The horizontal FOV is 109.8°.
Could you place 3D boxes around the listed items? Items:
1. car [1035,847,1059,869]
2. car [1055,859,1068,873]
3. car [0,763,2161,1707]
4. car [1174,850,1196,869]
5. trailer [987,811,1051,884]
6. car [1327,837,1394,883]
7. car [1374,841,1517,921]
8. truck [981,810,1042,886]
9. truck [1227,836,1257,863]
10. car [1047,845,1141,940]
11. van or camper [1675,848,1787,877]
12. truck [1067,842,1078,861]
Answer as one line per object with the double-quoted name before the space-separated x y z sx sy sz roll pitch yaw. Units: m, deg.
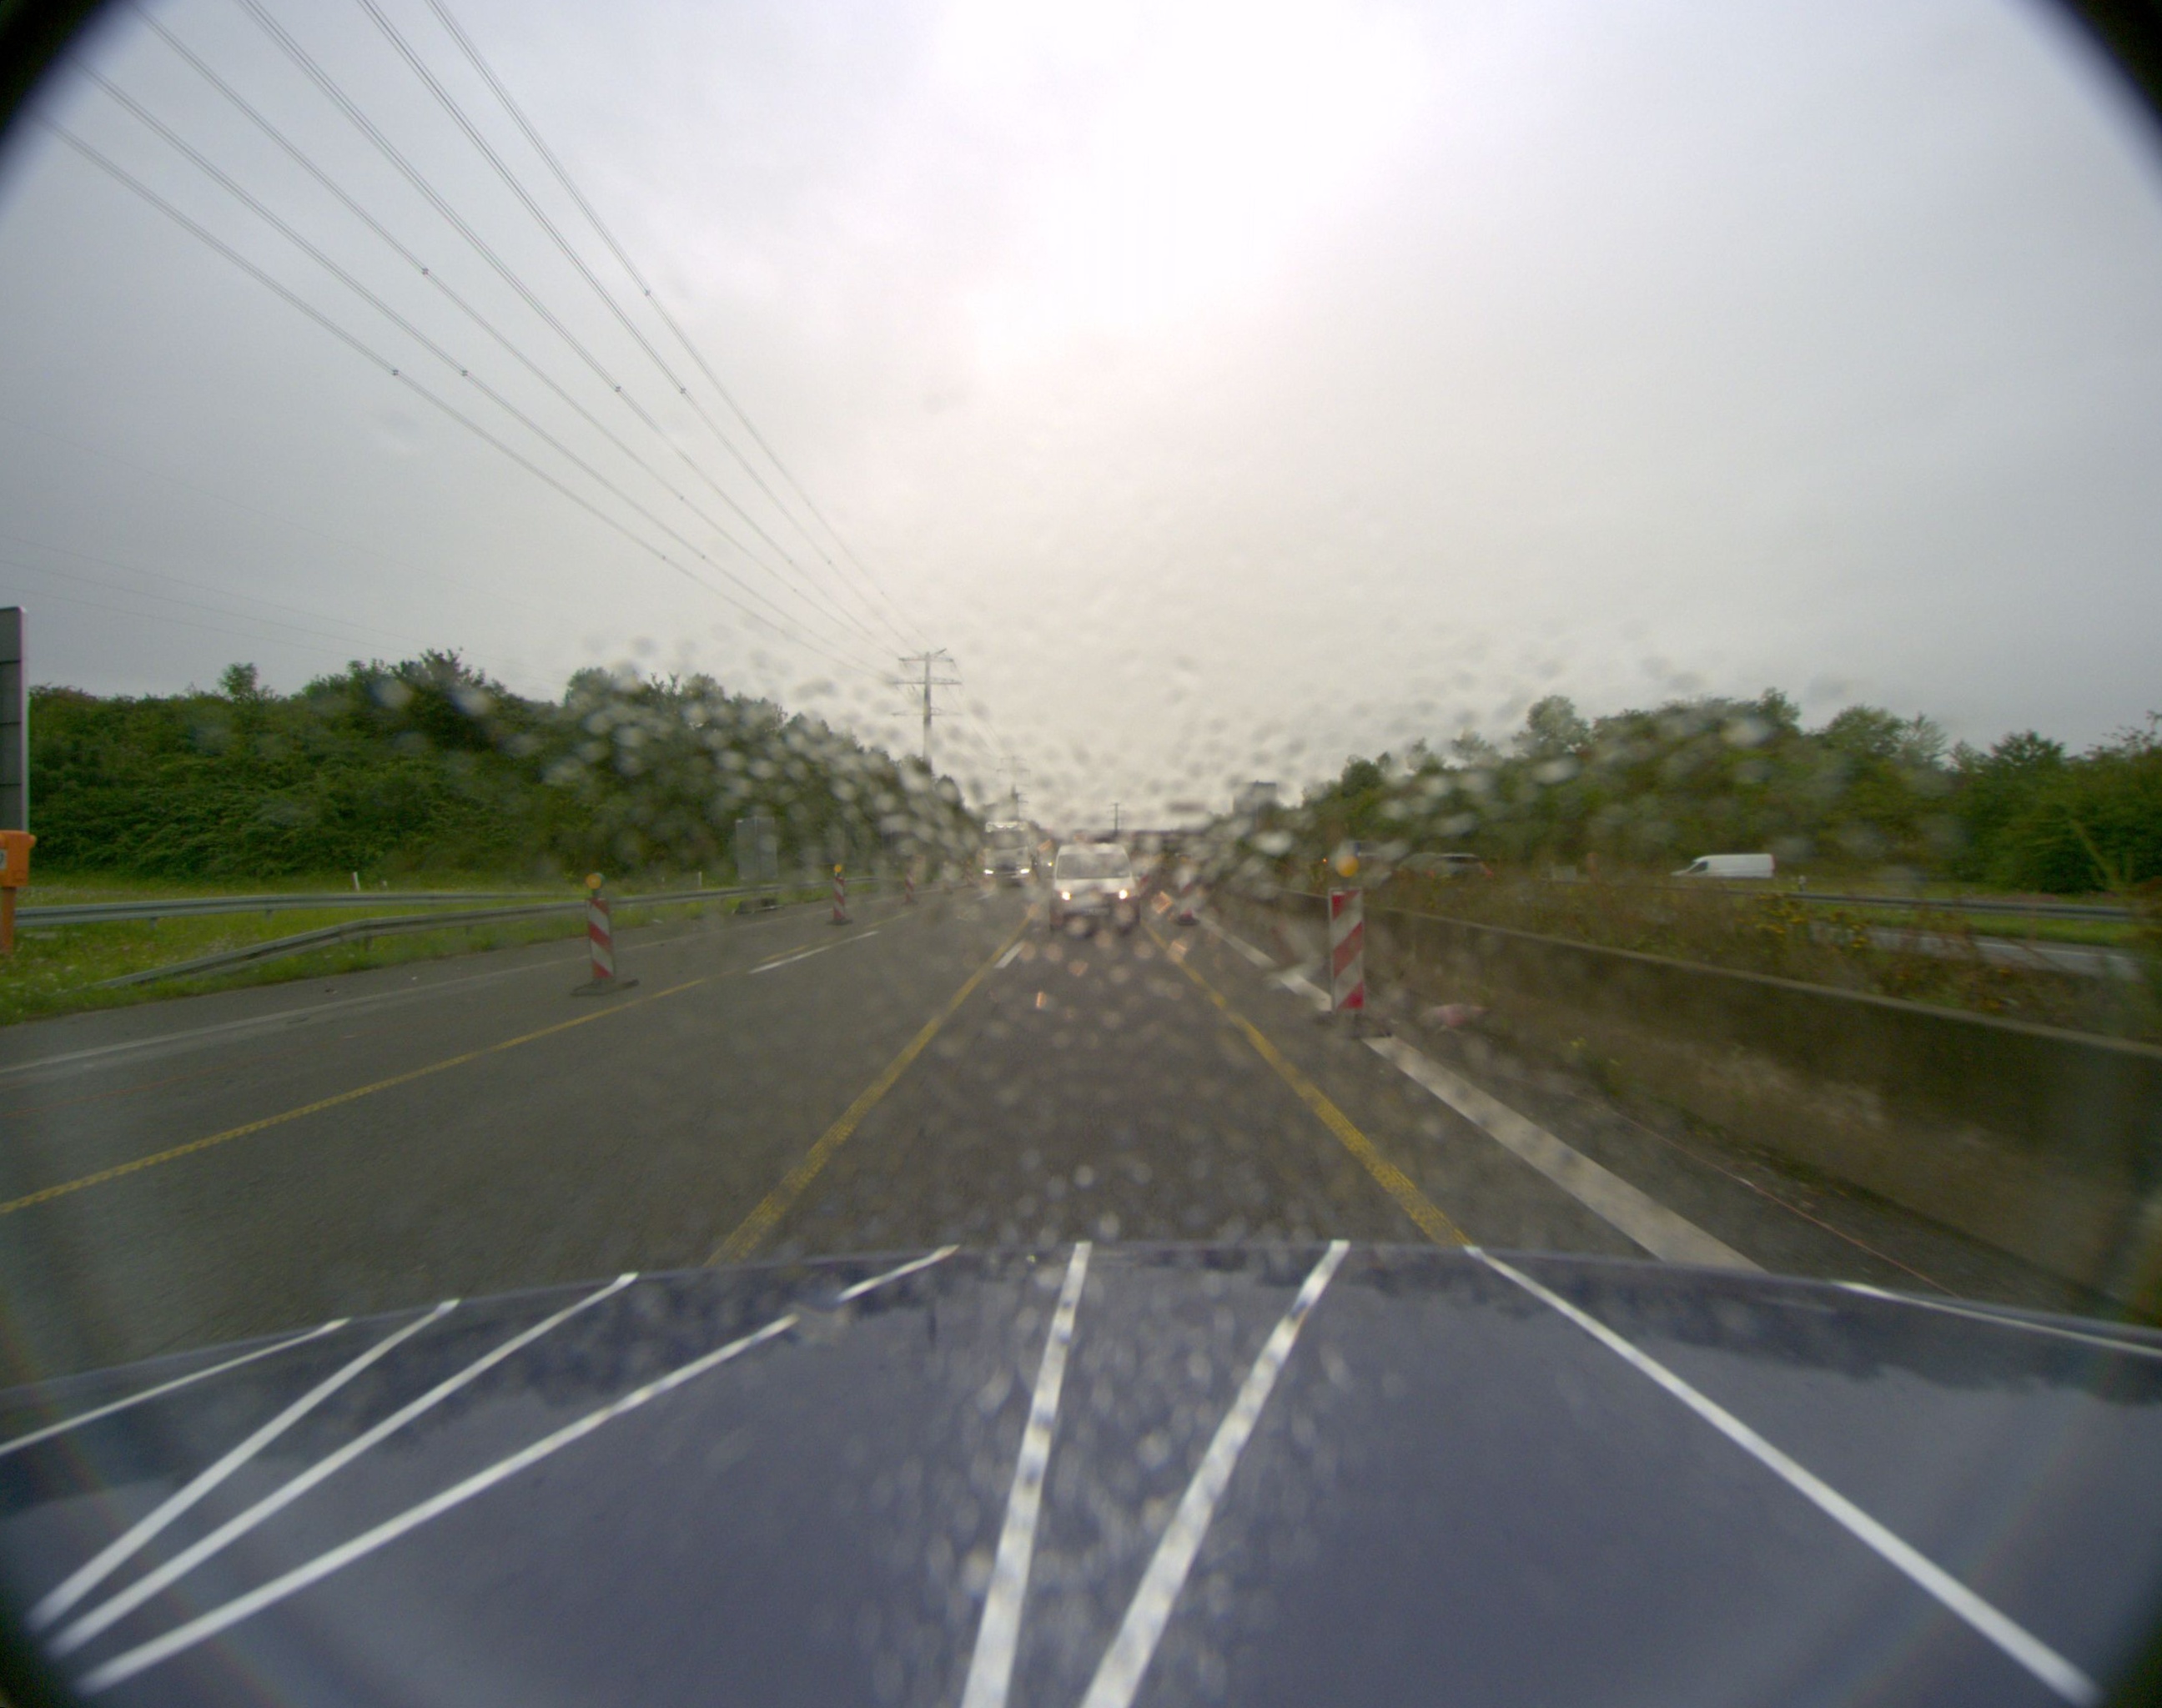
"car" -3.370 0.360 76.043 1.998 2.002 3.999 -2 1 1
"car" -3.209 1.997 126.602 1.998 2.002 3.999 -2 1 1
"car" 0.445 0.864 0.869 1.998 1.750 4.000 0 0 1
"car" 11.515 0.564 84.341 1.772 2.002 5.254 -2 1 2
"trailer" -3.764 -0.466 49.469 2.808 3.980 14.146 -2 1 0
"car" 17.001 0.300 46.530 2.055 2.594 5.846 -2 1 2
"car" 10.184 0.669 21.621 1.999 2.002 3.999 2 1 -1
"truck" -3.833 -0.345 43.058 2.748 3.912 5.396 -2 1 0
"truck" 22.921 -0.620 108.828 2.897 3.598 14.588 0 0 7
"car" 0.212 0.743 17.077 1.770 1.774 4.646 -2 0 -1
"van or camper" 47.011 0.593 55.170 5.831 2.002 2.003 1 1 26
"truck" -1.837 -0.603 169.039 2.276 3.683 6.652 -2 3 1
